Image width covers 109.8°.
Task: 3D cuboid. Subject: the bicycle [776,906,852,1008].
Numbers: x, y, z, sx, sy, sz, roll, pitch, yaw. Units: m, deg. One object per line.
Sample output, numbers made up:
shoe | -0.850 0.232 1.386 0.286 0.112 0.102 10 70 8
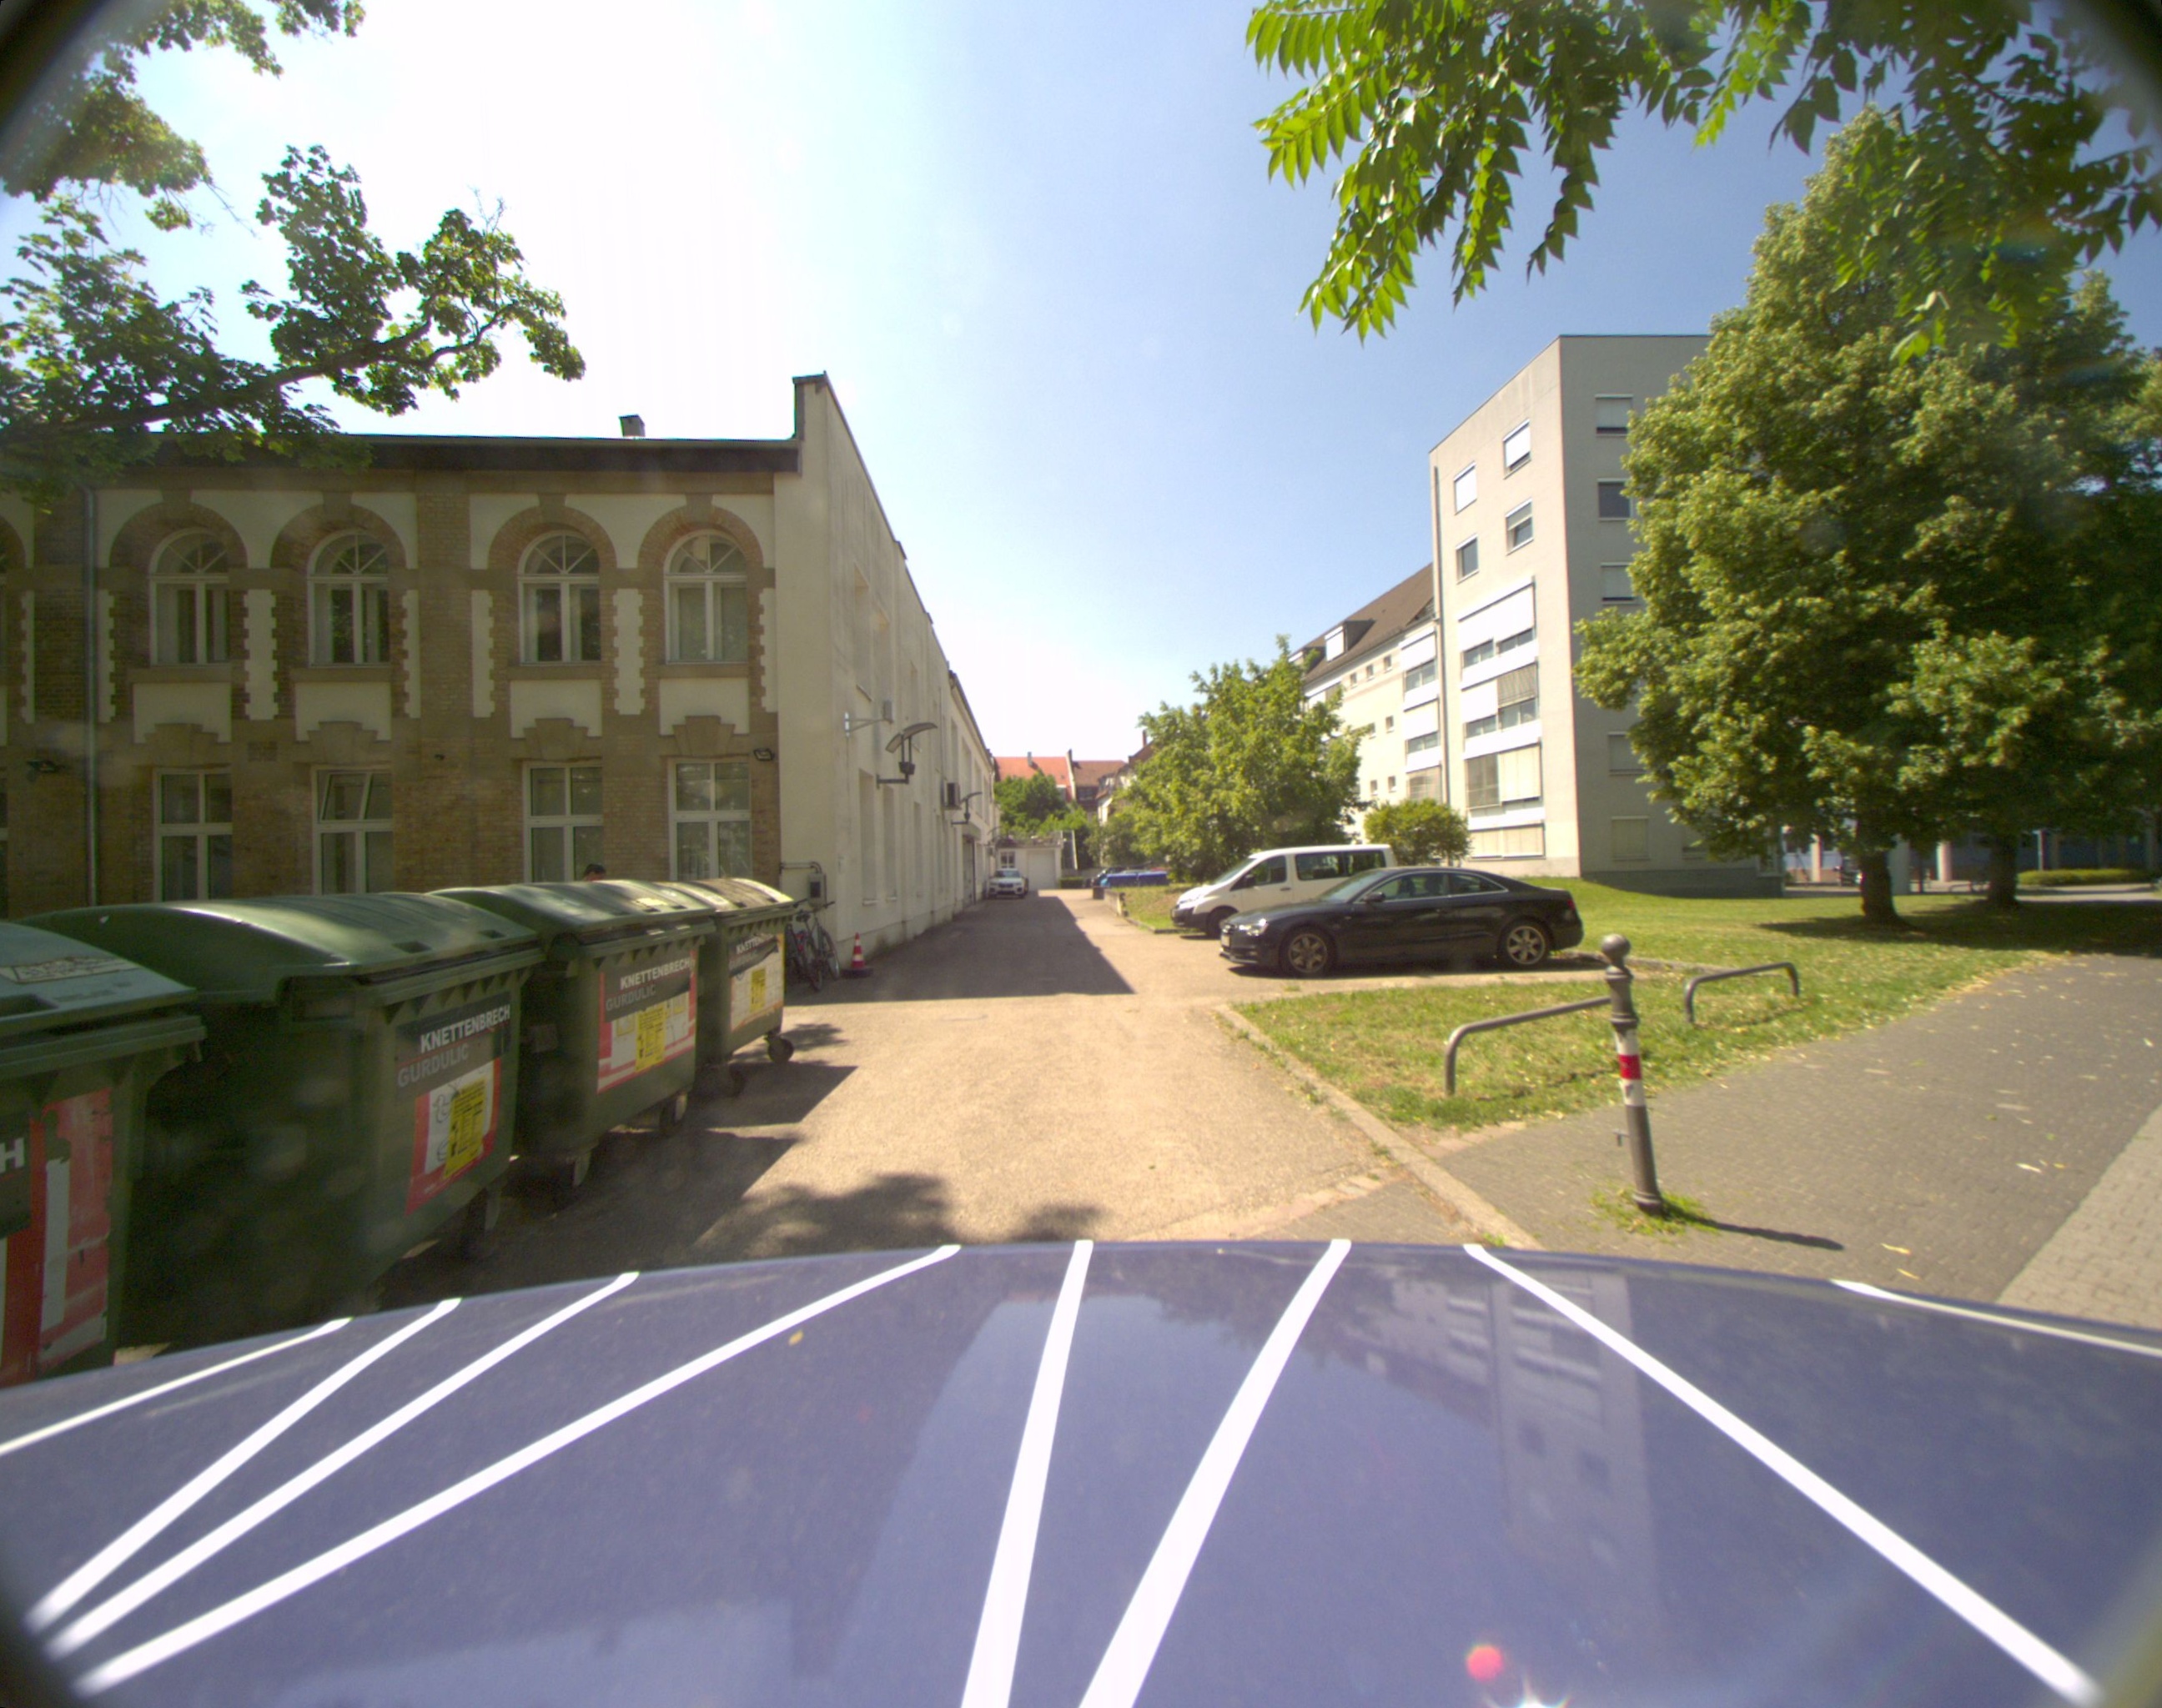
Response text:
bicycle | -3.466 1.296 9.987 0.406 1.095 1.826 -2 0 -3

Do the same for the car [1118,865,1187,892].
car | 4.692 1.594 50.040 4.224 1.559 1.612 -2 0 -8

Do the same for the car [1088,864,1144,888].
car | 2.865 1.786 62.571 4.224 1.812 2.008 -2 0 -8

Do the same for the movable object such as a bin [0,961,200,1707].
movable object such as a bin | -2.587 0.980 1.058 1.078 1.449 1.377 -2 0 -2

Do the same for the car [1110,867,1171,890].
car | 4.399 1.807 56.648 4.224 1.559 1.612 -2 0 -8

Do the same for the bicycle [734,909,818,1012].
bicycle | -3.933 1.330 9.913 0.406 1.095 1.826 -2 0 -3

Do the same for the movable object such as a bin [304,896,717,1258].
movable object such as a bin | -2.771 0.992 3.946 1.078 1.449 1.377 -2 0 -2

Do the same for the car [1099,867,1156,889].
car | 3.635 1.870 59.670 4.224 1.559 1.612 -2 0 -8

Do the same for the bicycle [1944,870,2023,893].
bicycle | 28.527 0.876 24.035 1.615 0.637 0.734 -2 -3 -2

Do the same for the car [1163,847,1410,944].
car | 4.385 0.866 16.805 4.860 1.872 2.067 -2 0 -1

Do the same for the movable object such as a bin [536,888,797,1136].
movable object such as a bin | -2.816 1.004 5.389 1.078 1.449 1.377 -2 0 -2

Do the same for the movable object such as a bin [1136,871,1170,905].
movable object such as a bin | 3.050 1.419 32.234 1.271 1.380 1.095 -2 0 -3

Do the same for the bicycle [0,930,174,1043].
bicycle | -12.141 1.547 9.102 0.406 1.095 1.826 -2 0 -3

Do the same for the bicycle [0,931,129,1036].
bicycle | -12.676 1.561 9.051 0.406 1.095 1.826 -2 0 -3

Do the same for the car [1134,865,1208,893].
car | 5.513 1.514 46.774 4.224 1.559 1.612 -2 0 -8

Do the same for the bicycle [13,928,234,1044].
bicycle | -11.500 1.531 9.233 0.406 1.095 1.826 -2 0 -3

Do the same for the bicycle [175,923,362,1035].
bicycle | -10.033 1.493 9.487 0.406 1.095 1.826 -2 0 -3

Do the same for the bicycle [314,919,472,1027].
bicycle | -8.692 1.458 9.704 0.406 1.095 1.826 -2 0 -3

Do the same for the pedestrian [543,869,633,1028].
pedestrian | -5.700 1.059 8.811 0.552 1.738 0.689 -2 0 -1

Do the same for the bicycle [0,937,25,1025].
bicycle | -13.826 1.615 8.900 0.406 1.095 1.826 -2 0 -3

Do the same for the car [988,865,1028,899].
car | -4.167 1.580 44.125 2.012 1.792 4.726 -2 0 -3

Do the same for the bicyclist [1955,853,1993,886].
bicyclist | 28.253 0.494 24.039 0.522 1.038 0.518 -1 -3 -1

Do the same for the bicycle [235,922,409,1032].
bicycle | -9.463 1.478 9.577 0.406 1.095 1.826 -2 0 -3

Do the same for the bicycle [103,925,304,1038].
bicycle | -10.743 1.511 9.410 0.406 1.095 1.826 -2 0 -3

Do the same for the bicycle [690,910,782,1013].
bicycle | -4.451 1.344 9.920 0.406 1.095 1.826 -2 0 -3

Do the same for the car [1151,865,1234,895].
car | 6.435 1.469 44.112 4.446 1.559 1.612 -2 0 -8

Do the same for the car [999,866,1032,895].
car | -4.523 1.807 52.919 2.012 1.792 4.726 -2 0 -3

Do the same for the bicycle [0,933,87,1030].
bicycle | -13.199 1.575 9.034 0.406 1.095 1.826 -2 0 -3

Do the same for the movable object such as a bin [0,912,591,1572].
movable object such as a bin | -2.594 0.977 2.480 1.078 1.449 1.377 -2 0 -2

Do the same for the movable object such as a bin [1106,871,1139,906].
movable object such as a bin | 1.754 1.453 32.144 1.271 1.380 1.095 -2 0 -3

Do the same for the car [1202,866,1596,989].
car | 4.038 0.937 10.279 4.441 1.371 2.024 -2 -2 -1
